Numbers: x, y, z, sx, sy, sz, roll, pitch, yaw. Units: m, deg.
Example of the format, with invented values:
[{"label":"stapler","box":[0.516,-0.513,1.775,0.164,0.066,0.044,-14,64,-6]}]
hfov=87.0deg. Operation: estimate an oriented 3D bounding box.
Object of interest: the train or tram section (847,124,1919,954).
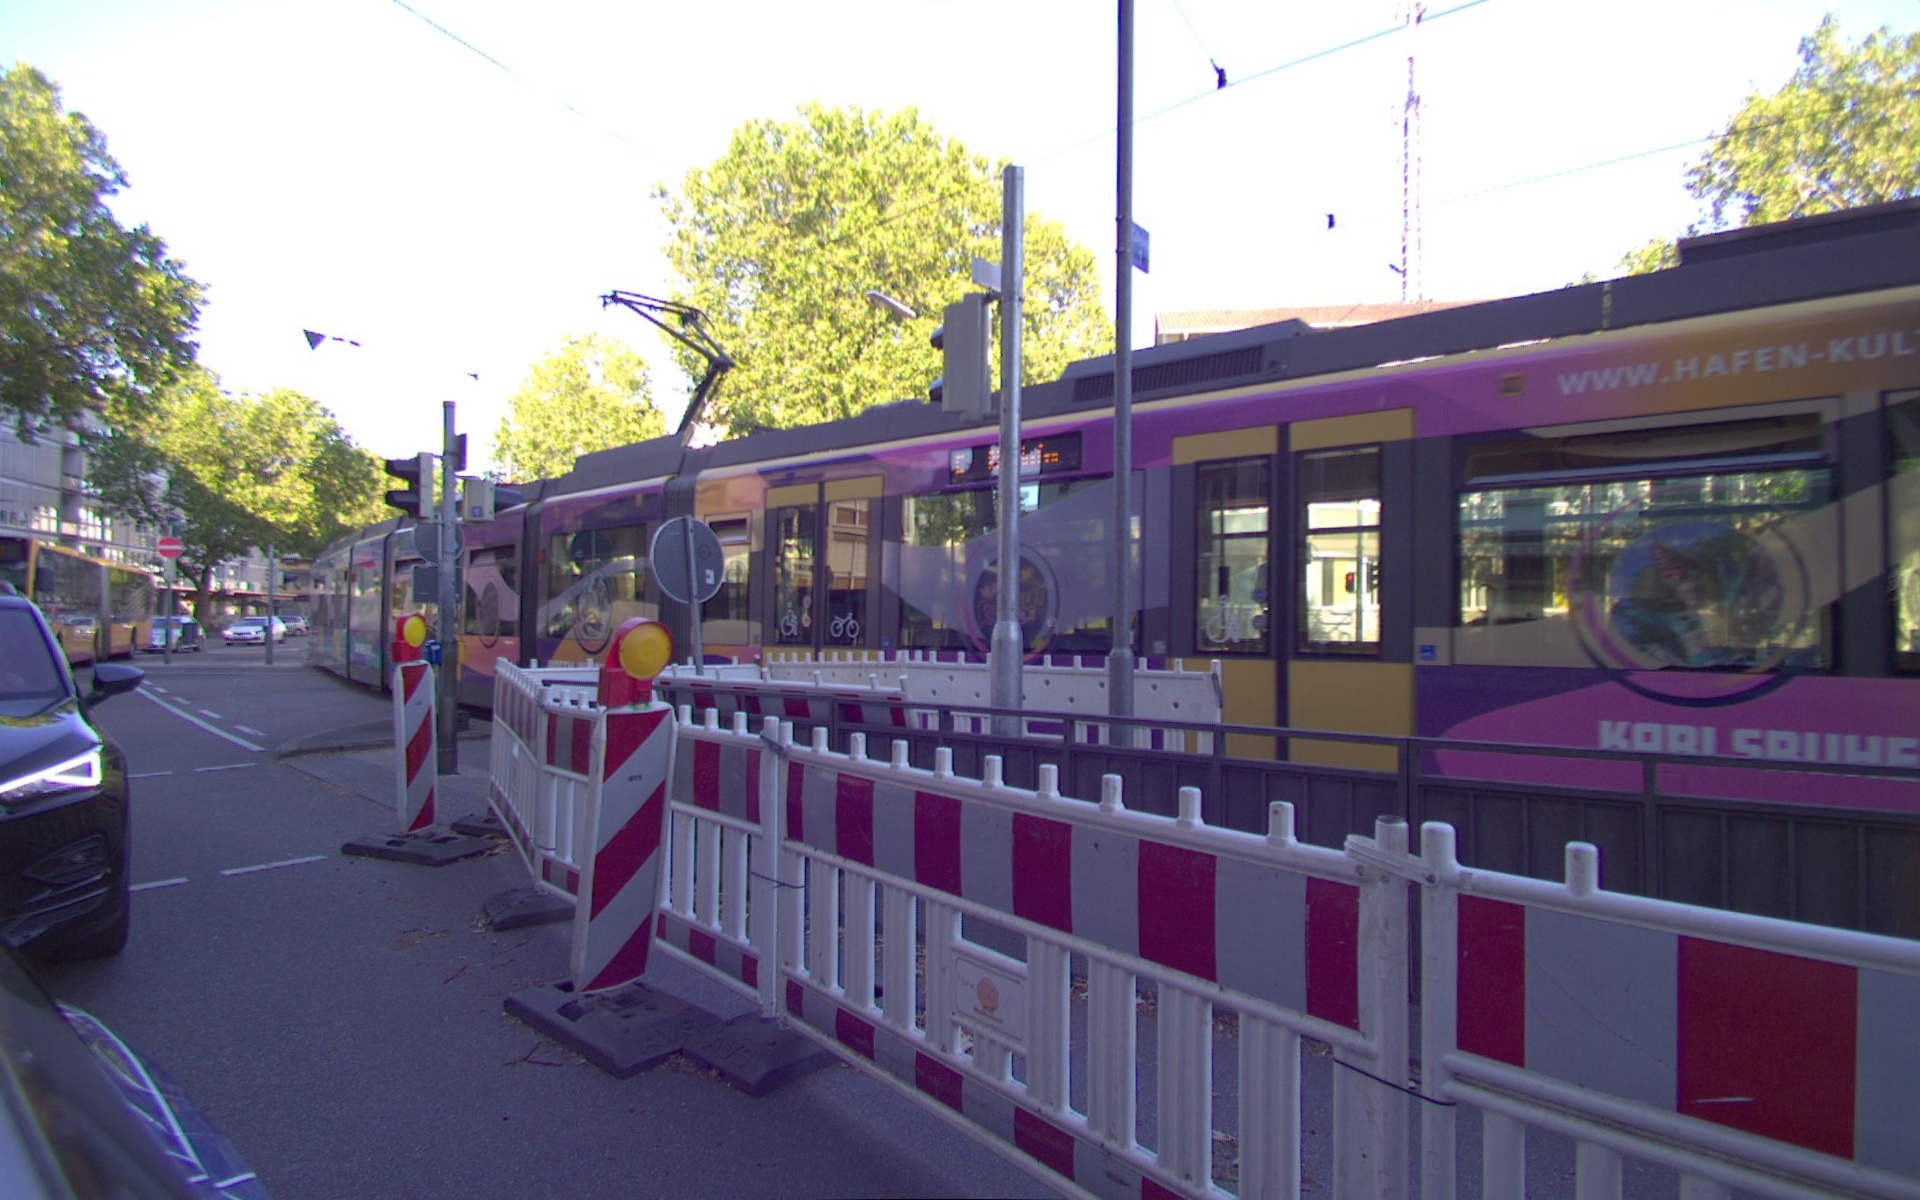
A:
[{"label":"train or tram section","box":[3.924,-0.232,6.194,10.328,3.514,2.788,-1,-1,39]}]

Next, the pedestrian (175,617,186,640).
[{"label":"pedestrian","box":[-56.591,2.045,73.483,0.508,1.669,0.572,1,-1,-22]}]

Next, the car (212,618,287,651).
[{"label":"car","box":[-36.507,1.746,52.136,1.923,1.562,4.771,1,-1,-19]}]

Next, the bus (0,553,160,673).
[{"label":"bus","box":[-26.906,0.424,30.867,2.708,3.127,9.524,1,-2,-31]}]

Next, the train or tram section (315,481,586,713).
[{"label":"train or tram section","box":[-10.635,0.035,20.285,2.834,3.514,10.359,1,-1,-38]}]

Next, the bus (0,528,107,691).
[{"label":"bus","box":[-21.773,0.246,22.946,2.709,3.127,9.521,1,-2,-34]}]

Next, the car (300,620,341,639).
[{"label":"car","box":[-52.356,2.425,82.912,1.201,1.484,2.592,0,-1,43]}]

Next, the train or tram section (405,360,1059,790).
[{"label":"train or tram section","box":[-3.703,-0.130,12.855,10.339,3.514,2.804,-1,-1,43]}]

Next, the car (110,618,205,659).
[{"label":"car","box":[-31.680,1.481,40.089,1.880,1.486,4.433,1,-1,-24]}]

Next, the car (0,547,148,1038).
[{"label":"car","box":[-5.161,0.688,4.590,4.300,1.670,1.823,-1,-1,45]}]

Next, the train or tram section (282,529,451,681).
[{"label":"train or tram section","box":[-16.883,0.195,28.328,2.798,3.514,10.360,1,-1,-37]}]
